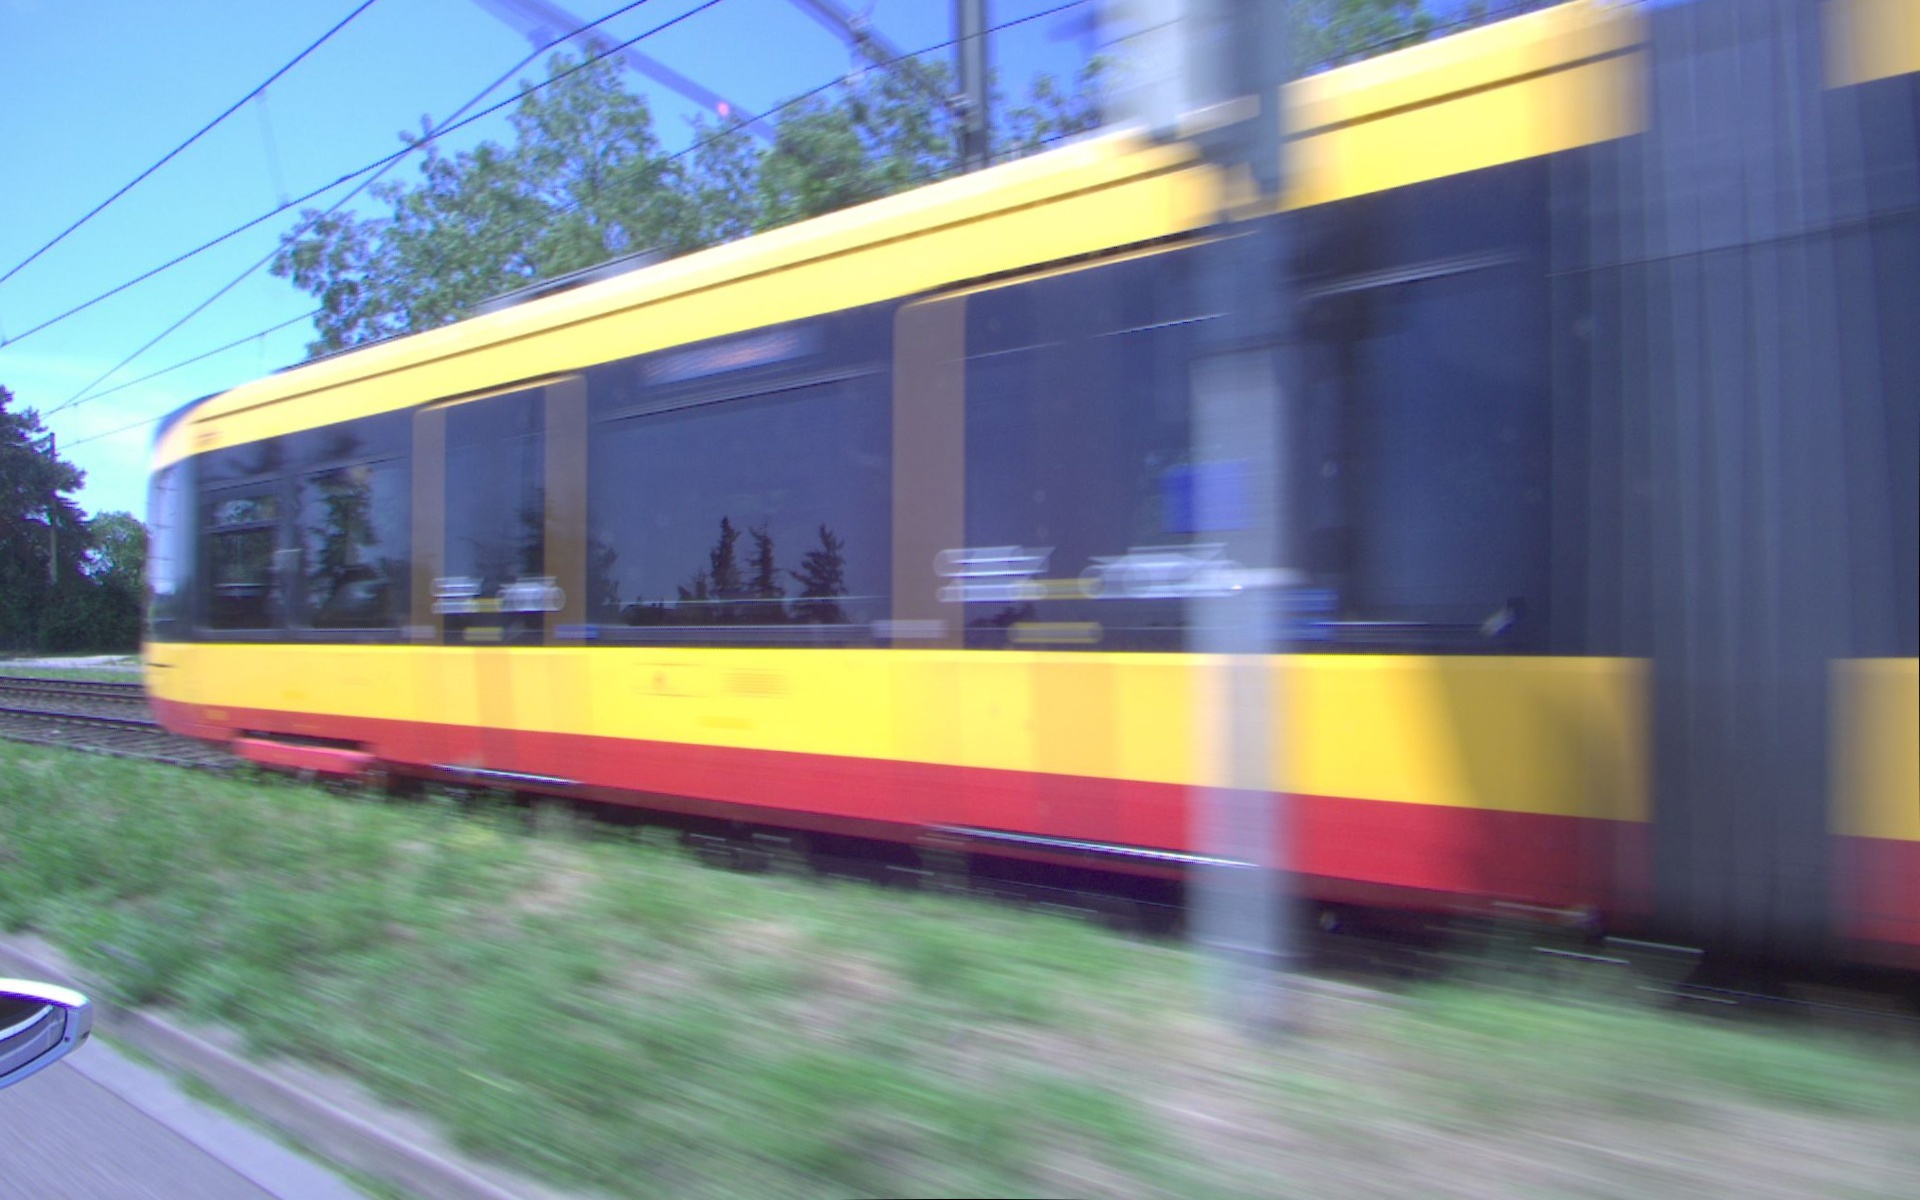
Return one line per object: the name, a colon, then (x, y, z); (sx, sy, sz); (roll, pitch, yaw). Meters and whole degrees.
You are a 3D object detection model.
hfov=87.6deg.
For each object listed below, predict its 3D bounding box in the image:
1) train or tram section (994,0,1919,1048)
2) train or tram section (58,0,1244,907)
train or tram section: (3.691, -0.726, 3.541); (6.635, 3.815, 2.695); (-2, 0, 32)
train or tram section: (-3.589, -0.445, 8.221); (11.029, 3.738, 2.759); (-2, 0, 32)
